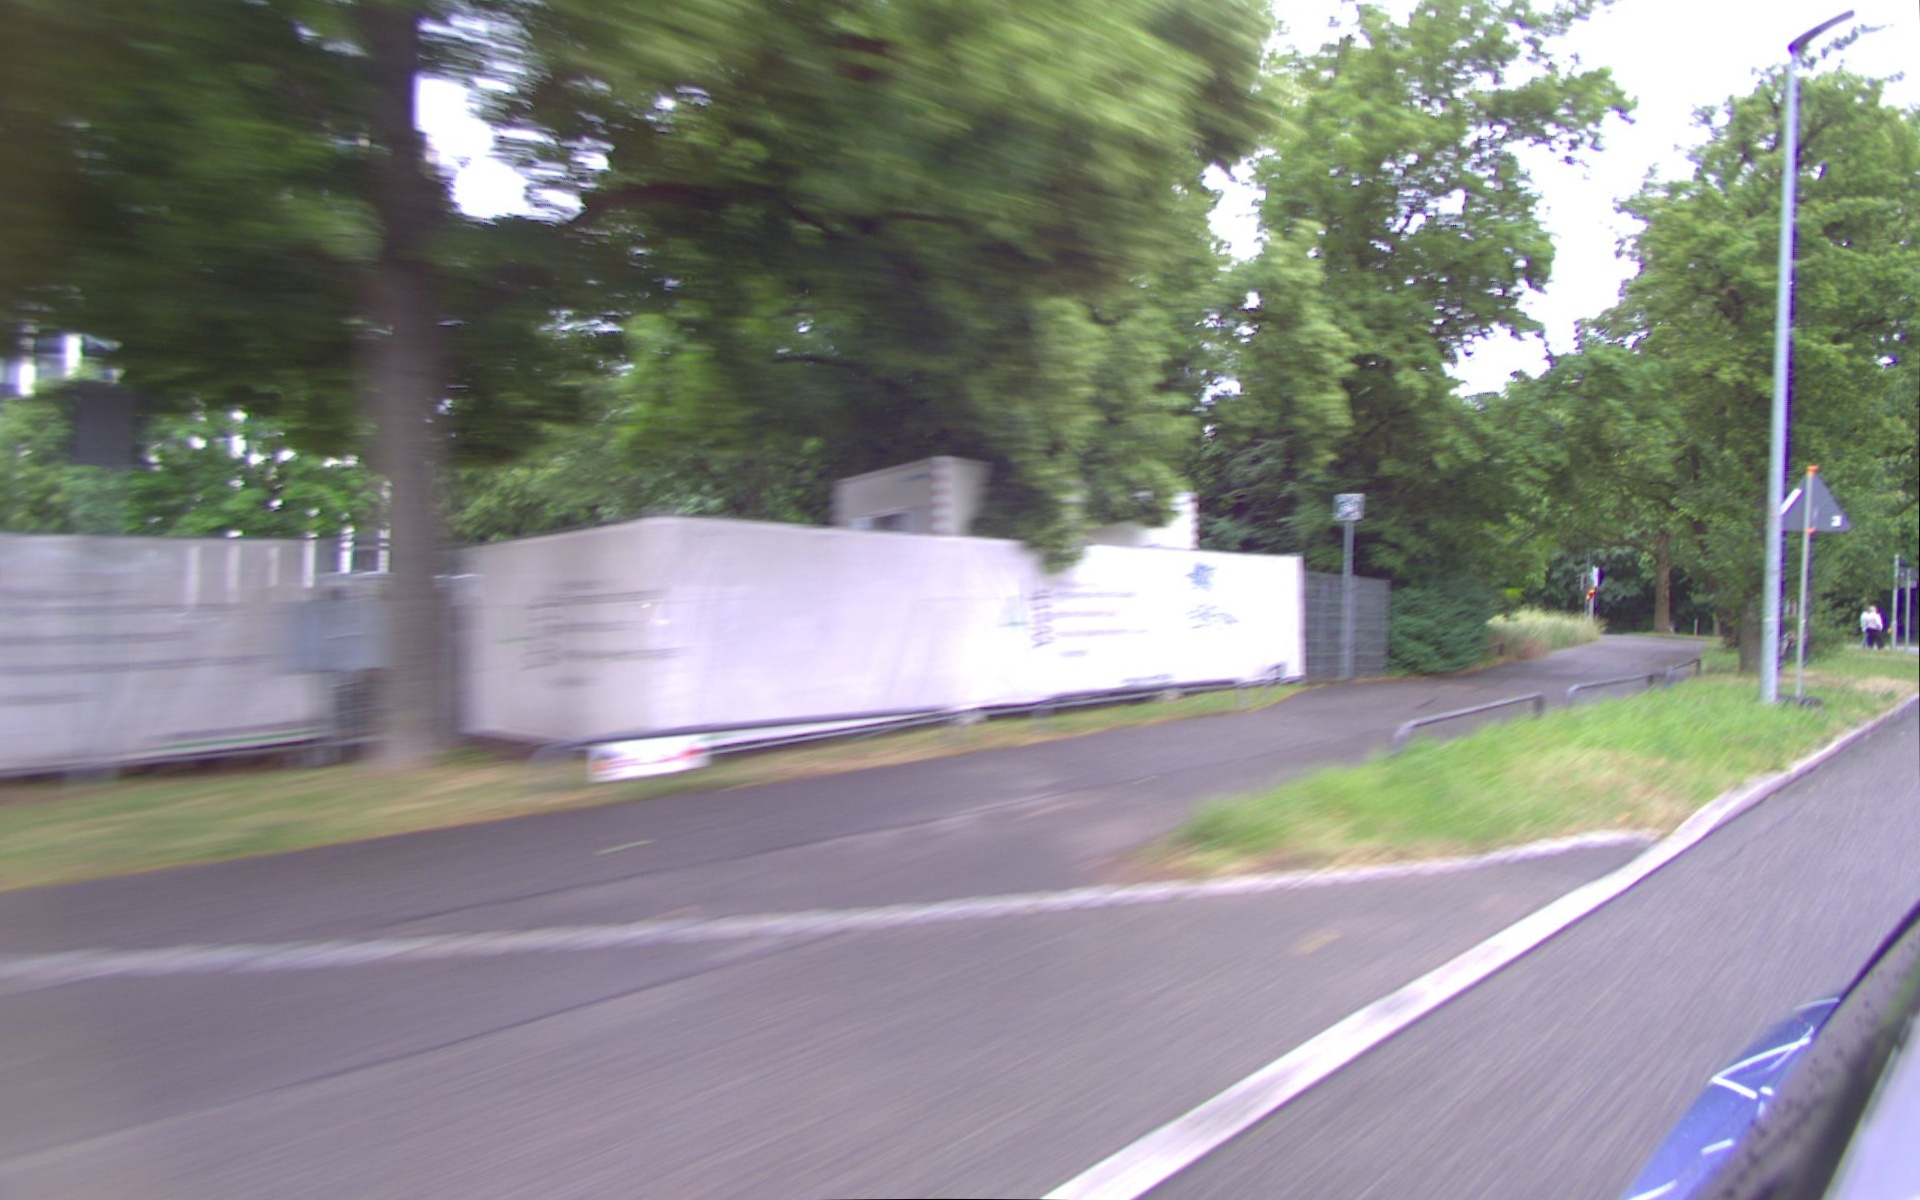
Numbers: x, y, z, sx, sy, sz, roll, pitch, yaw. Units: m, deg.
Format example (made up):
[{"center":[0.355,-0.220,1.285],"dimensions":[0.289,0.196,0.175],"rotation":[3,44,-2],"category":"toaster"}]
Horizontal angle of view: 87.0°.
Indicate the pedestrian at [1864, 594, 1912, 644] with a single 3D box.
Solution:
[{"center":[32.767,0.660,35.759],"dimensions":[0.731,1.743,1.022],"rotation":[-1,0,2],"category":"pedestrian"}]
